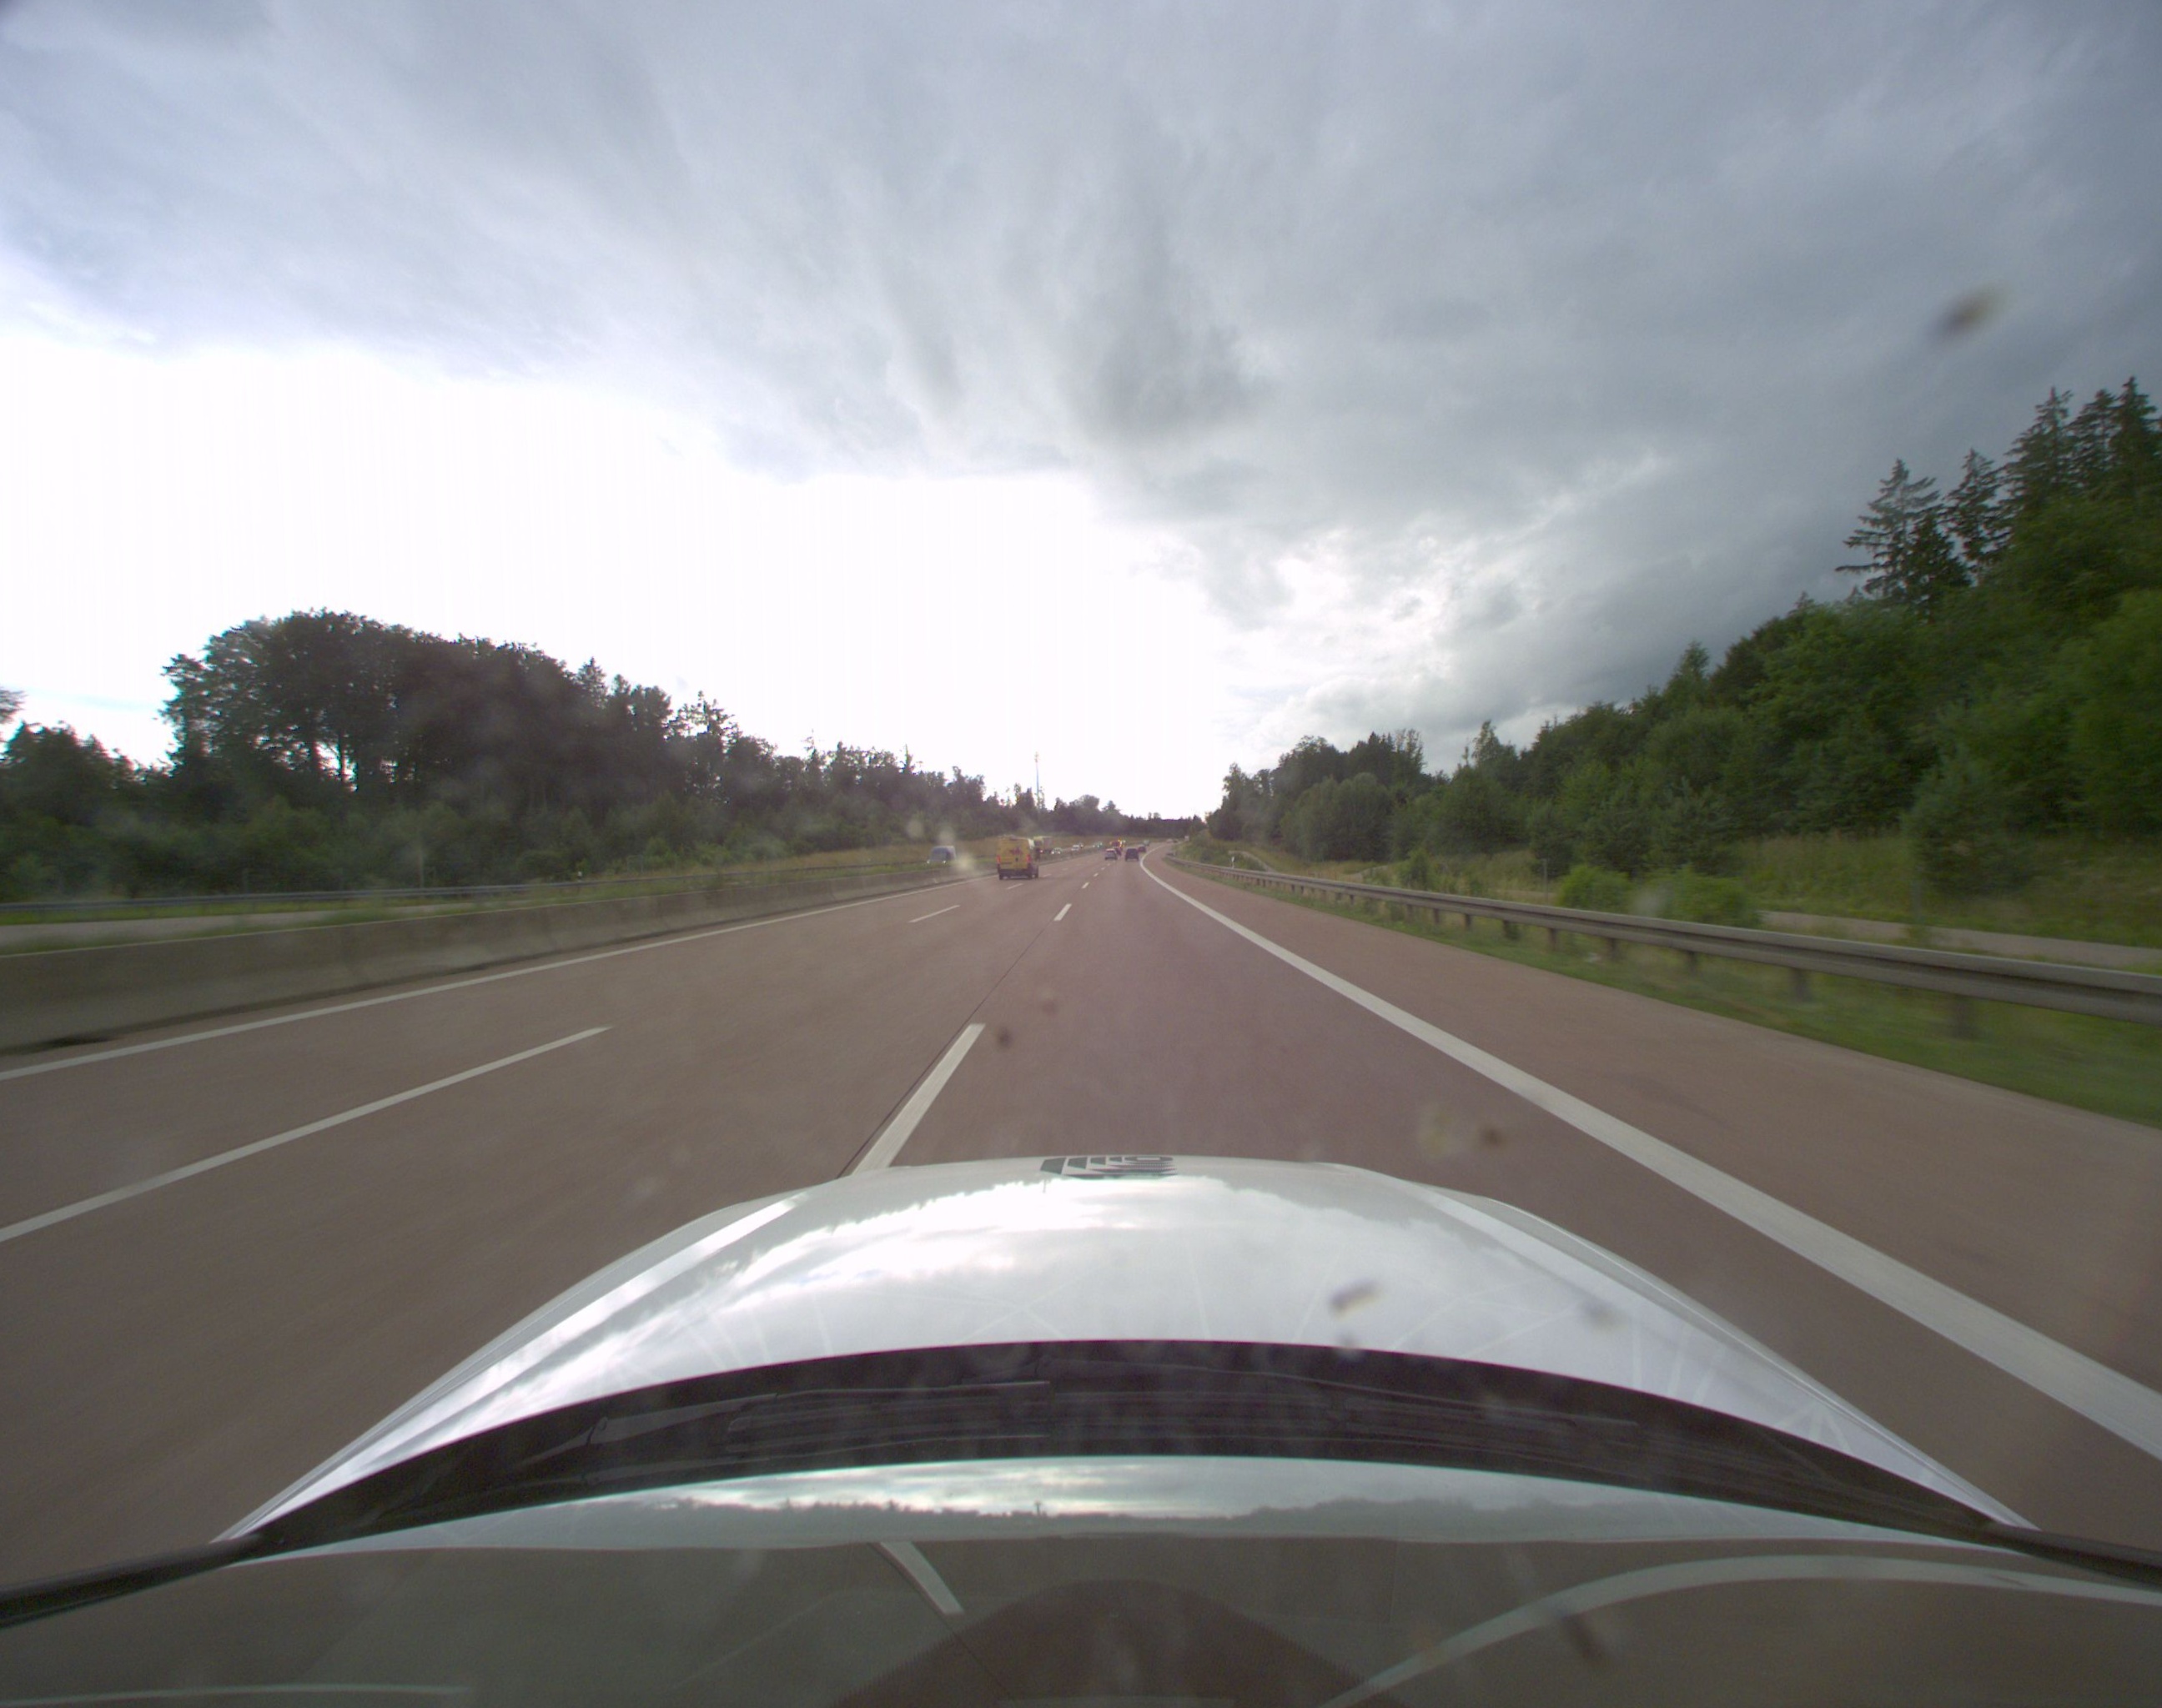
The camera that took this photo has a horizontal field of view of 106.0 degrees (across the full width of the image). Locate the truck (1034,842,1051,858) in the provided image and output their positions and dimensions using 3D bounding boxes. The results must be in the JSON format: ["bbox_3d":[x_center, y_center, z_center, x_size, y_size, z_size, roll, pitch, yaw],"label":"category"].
[{"bbox_3d":[-8.705,-0.951,184.935,2.999,3.582,6.063,0,-1,4],"label":"truck"}]

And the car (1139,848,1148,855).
[{"bbox_3d":[13.947,-0.557,182.802,1.968,1.648,4.624,-2,0,4],"label":"car"}]

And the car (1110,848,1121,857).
[{"bbox_3d":[6.746,-0.218,158.705,1.968,1.648,4.624,-2,0,4],"label":"car"}]

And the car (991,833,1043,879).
[{"bbox_3d":[-3.965,0.128,51.416,2.448,2.706,5.618,-2,0,3],"label":"car"}]

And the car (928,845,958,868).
[{"bbox_3d":[-14.531,0.225,86.033,1.986,2.242,6.043,0,0,2],"label":"car"}]

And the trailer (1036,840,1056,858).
[{"bbox_3d":[-8.198,-1.118,191.992,3.019,4.041,14.546,0,-1,4],"label":"trailer"}]

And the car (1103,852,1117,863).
[{"bbox_3d":[4.521,0.529,124.399,1.969,1.648,4.623,-2,0,3],"label":"car"}]

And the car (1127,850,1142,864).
[{"bbox_3d":[7.488,0.414,113.735,2.035,1.897,5.582,-2,0,3],"label":"car"}]

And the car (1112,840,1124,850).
[{"bbox_3d":[9.283,-2.231,204.213,2.228,2.430,6.219,1,0,8],"label":"car"}]
